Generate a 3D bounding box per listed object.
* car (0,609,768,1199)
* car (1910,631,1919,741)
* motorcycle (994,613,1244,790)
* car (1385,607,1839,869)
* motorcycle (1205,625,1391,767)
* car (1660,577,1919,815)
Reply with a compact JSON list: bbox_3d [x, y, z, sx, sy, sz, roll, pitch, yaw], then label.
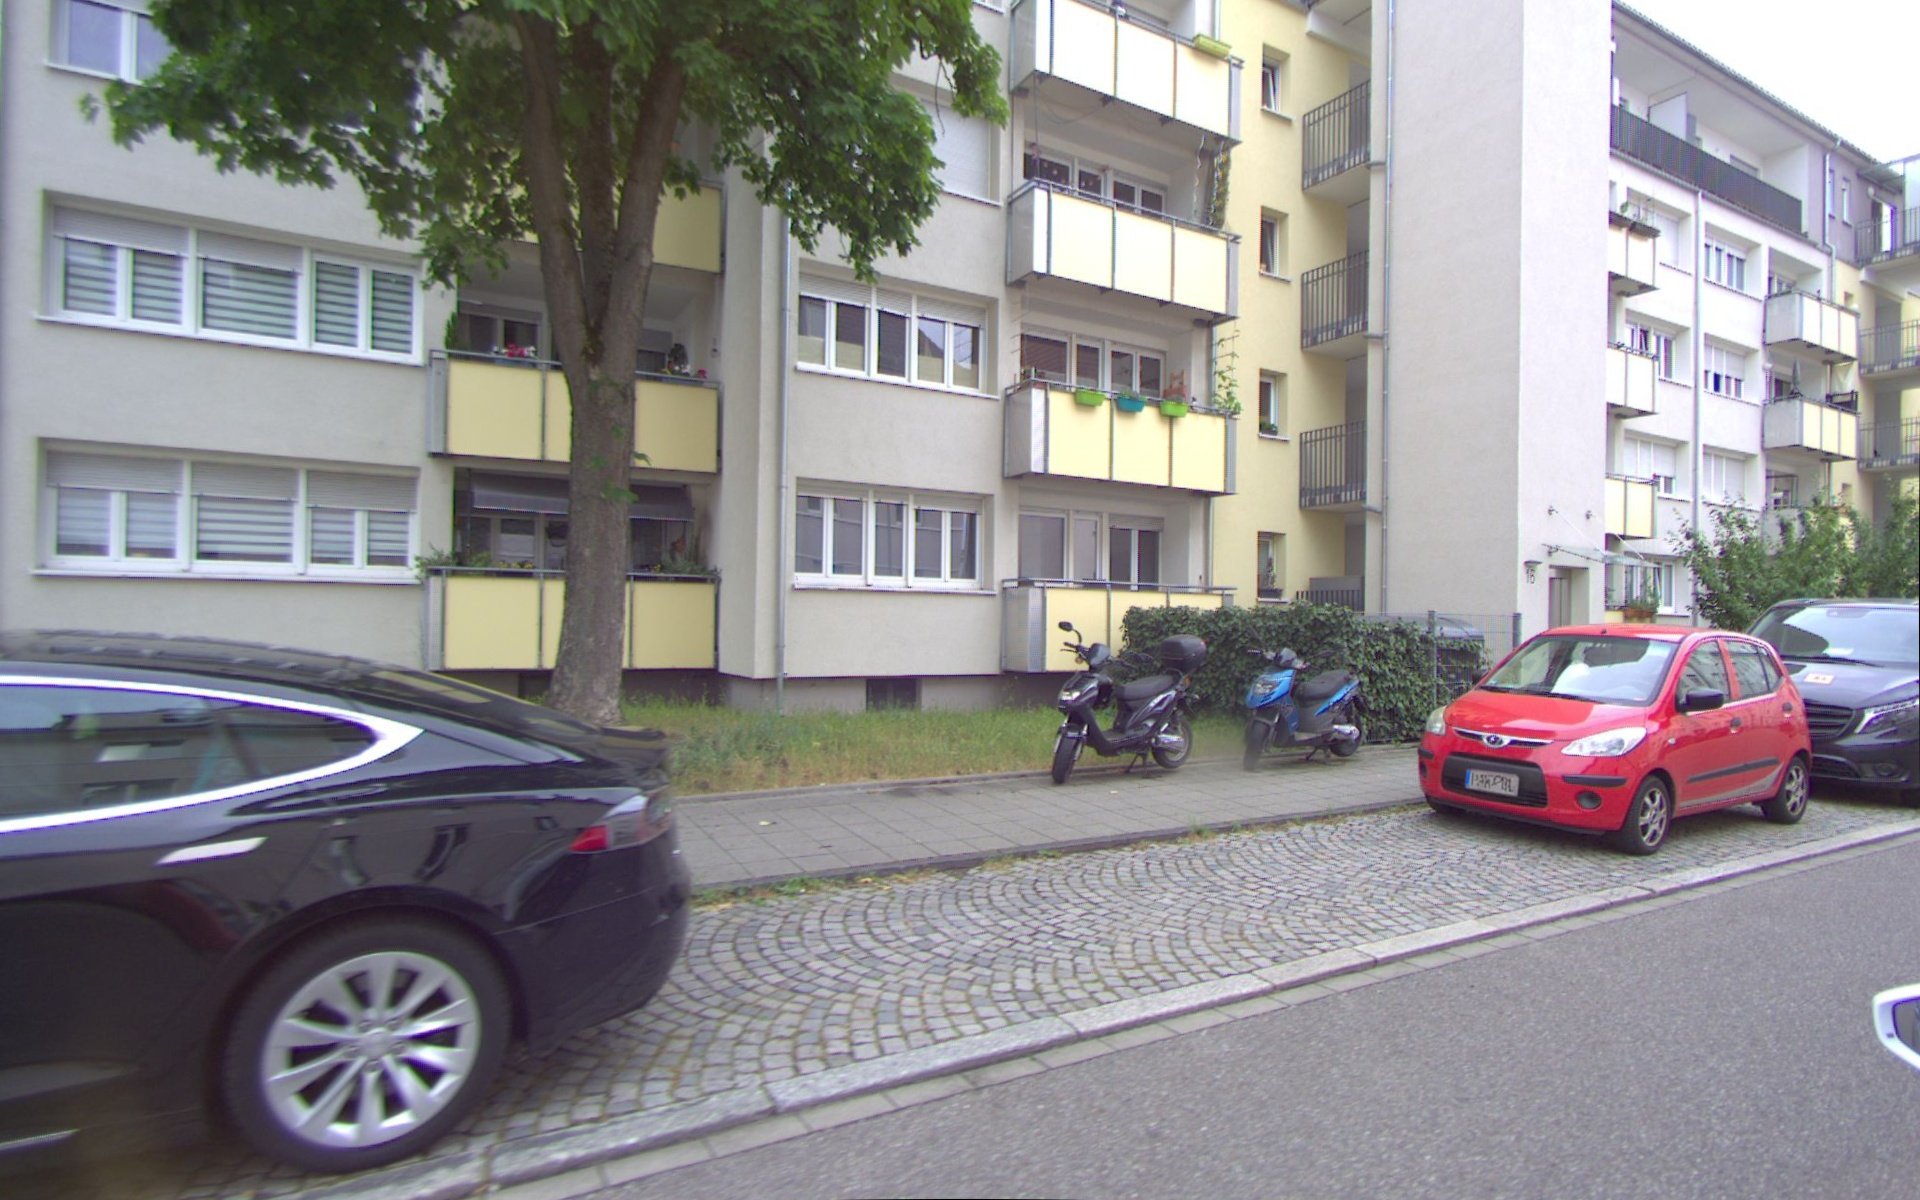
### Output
[{"bbox_3d":[-3.071,0.781,2.962,4.574,1.440,1.833,1,1,-30],"label":"car"},{"bbox_3d":[15.180,1.204,14.001,4.212,1.478,1.820,1,0,-32],"label":"car"},{"bbox_3d":[1.428,0.833,8.831,2.203,1.374,0.674,1,2,-30],"label":"motorcycle"},{"bbox_3d":[5.224,0.913,7.964,3.600,1.590,1.555,1,2,-31],"label":"car"},{"bbox_3d":[3.337,0.902,9.871,1.812,1.247,0.633,1,3,-30],"label":"motorcycle"},{"bbox_3d":[9.510,0.814,10.400,4.975,1.929,1.868,1,2,-32],"label":"car"}]
